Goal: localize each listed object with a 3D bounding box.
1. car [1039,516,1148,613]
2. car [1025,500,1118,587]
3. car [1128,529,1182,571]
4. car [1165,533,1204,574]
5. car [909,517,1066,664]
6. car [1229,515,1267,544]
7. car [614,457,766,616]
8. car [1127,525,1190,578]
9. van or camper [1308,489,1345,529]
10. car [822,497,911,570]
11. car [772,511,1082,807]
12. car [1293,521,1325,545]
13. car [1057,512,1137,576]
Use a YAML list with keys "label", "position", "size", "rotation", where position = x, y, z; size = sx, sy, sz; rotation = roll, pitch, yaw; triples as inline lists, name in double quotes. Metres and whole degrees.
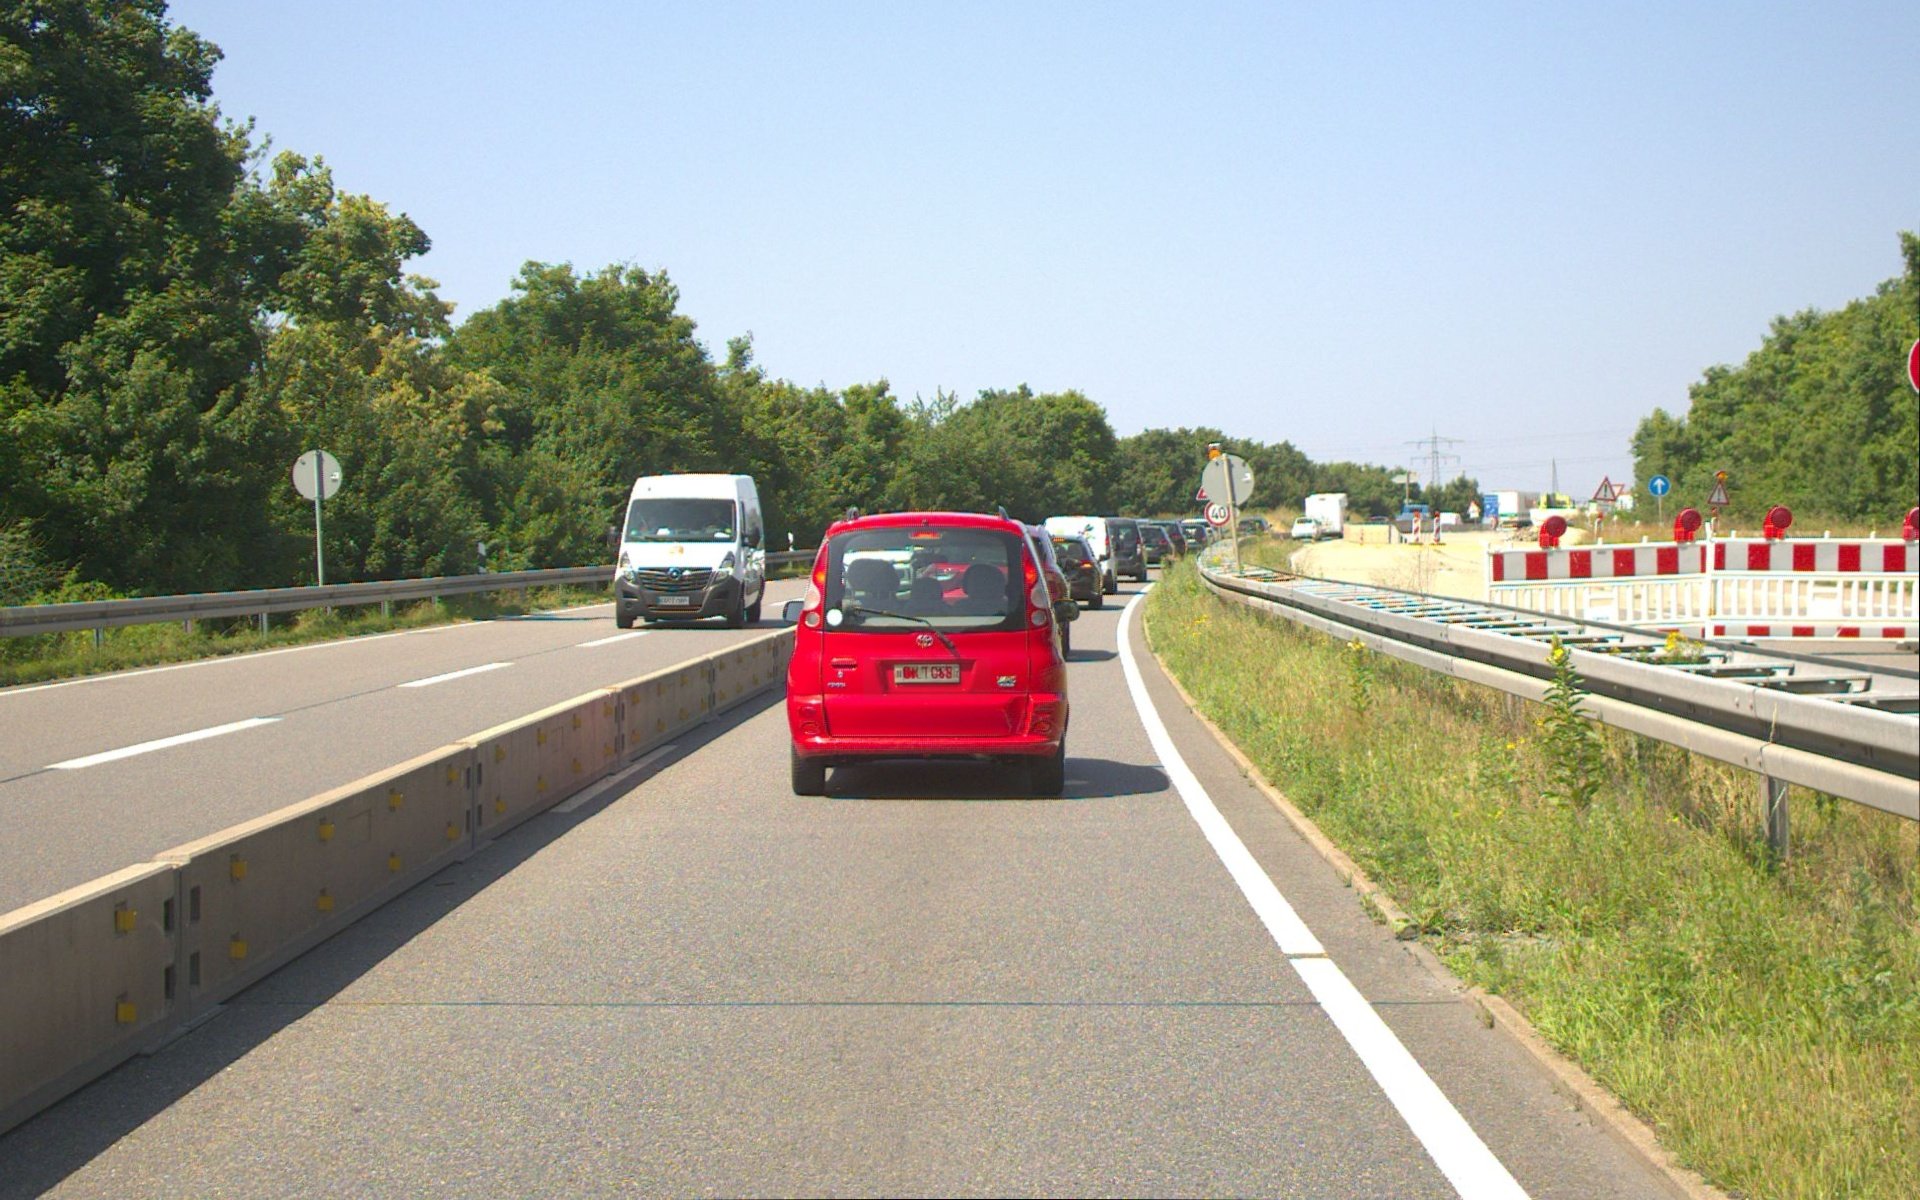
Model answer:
- label: "car"
  position: [2.656, -0.705, 67.517]
  size: [1.994, 1.831, 4.000]
  rotation: [-1, 1, 4]
- label: "car"
  position: [2.622, -1.350, 81.857]
  size: [1.993, 1.997, 4.000]
  rotation: [-1, 1, -1]
- label: "car"
  position: [7.707, -1.968, 135.339]
  size: [1.994, 1.579, 3.999]
  rotation: [-1, 1, 5]
- label: "car"
  position: [9.627, -2.011, 147.191]
  size: [1.502, 1.730, 3.169]
  rotation: [-1, 1, 7]
- label: "car"
  position: [0.381, -0.148, 42.692]
  size: [1.830, 1.716, 4.000]
  rotation: [1, 1, 2]
- label: "car"
  position: [15.840, -3.867, 188.857]
  size: [1.994, 1.546, 3.999]
  rotation: [-1, 1, 6]
- label: "car"
  position: [-4.373, -1.045, 56.422]
  size: [2.061, 2.477, 5.561]
  rotation: [0, 1, 0]
- label: "car"
  position: [6.834, -1.671, 118.508]
  size: [1.993, 1.777, 4.000]
  rotation: [-1, 1, 1]
- label: "van or camper"
  position: [24.979, -6.189, 234.238]
  size: [2.328, 2.697, 4.593]
  rotation: [-1, 1, 4]
- label: "car"
  position: [-2.082, -1.506, 77.773]
  size: [1.848, 1.595, 4.322]
  rotation: [0, 1, 0]
- label: "car"
  position: [-0.133, 0.303, 21.591]
  size: [1.752, 1.667, 4.000]
  rotation: [1, 1, 2]
- label: "car"
  position: [22.516, -4.316, 221.925]
  size: [1.994, 1.481, 3.999]
  rotation: [-1, 1, 5]
- label: "car"
  position: [3.836, -1.572, 96.612]
  size: [1.993, 1.744, 4.000]
  rotation: [-1, 1, -1]
